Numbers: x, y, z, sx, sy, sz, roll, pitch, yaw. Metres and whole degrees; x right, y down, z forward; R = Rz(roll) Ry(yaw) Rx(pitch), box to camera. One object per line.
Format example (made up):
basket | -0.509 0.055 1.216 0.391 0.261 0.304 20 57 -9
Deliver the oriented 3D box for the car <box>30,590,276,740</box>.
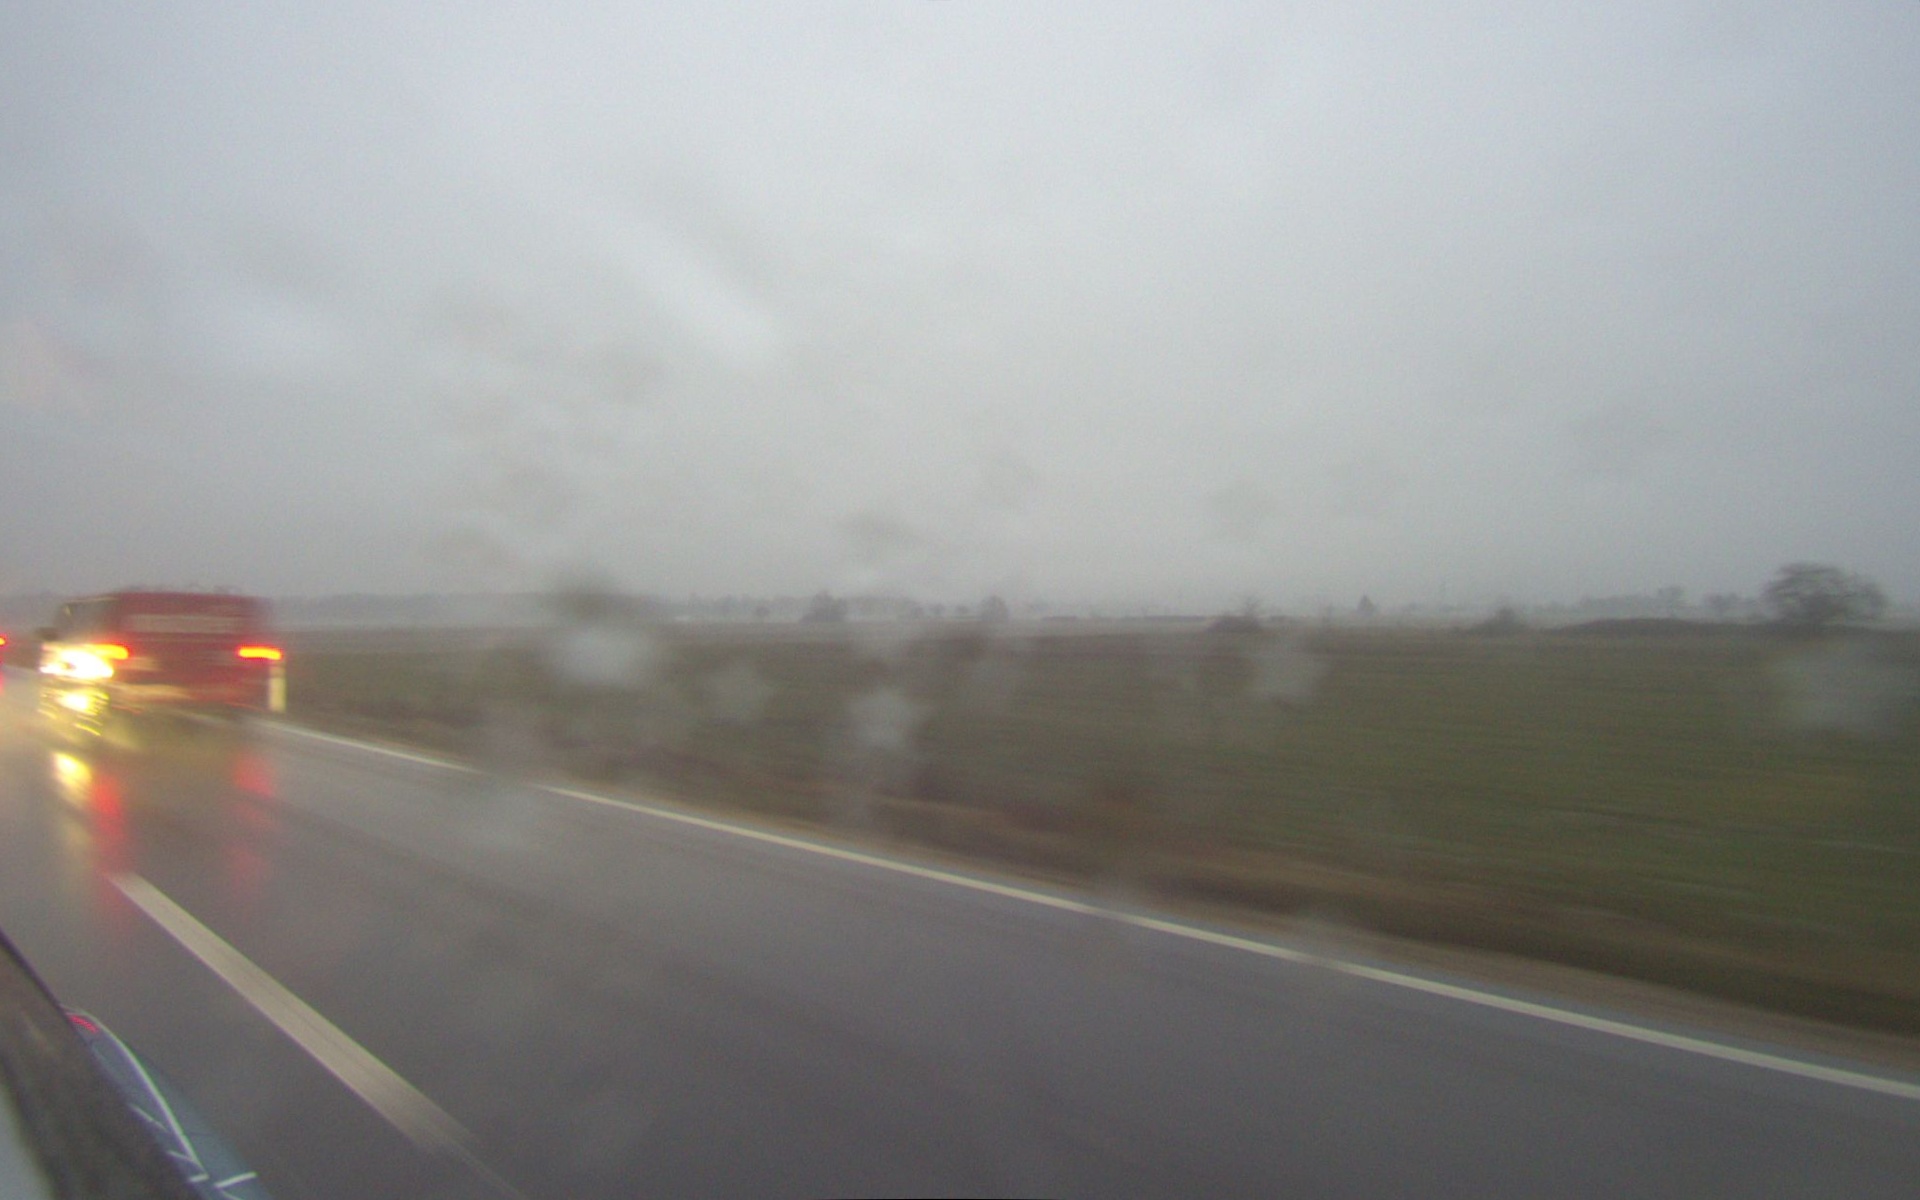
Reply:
car | -12.173 0.909 15.132 4.949 1.885 1.972 -1 -4 41
